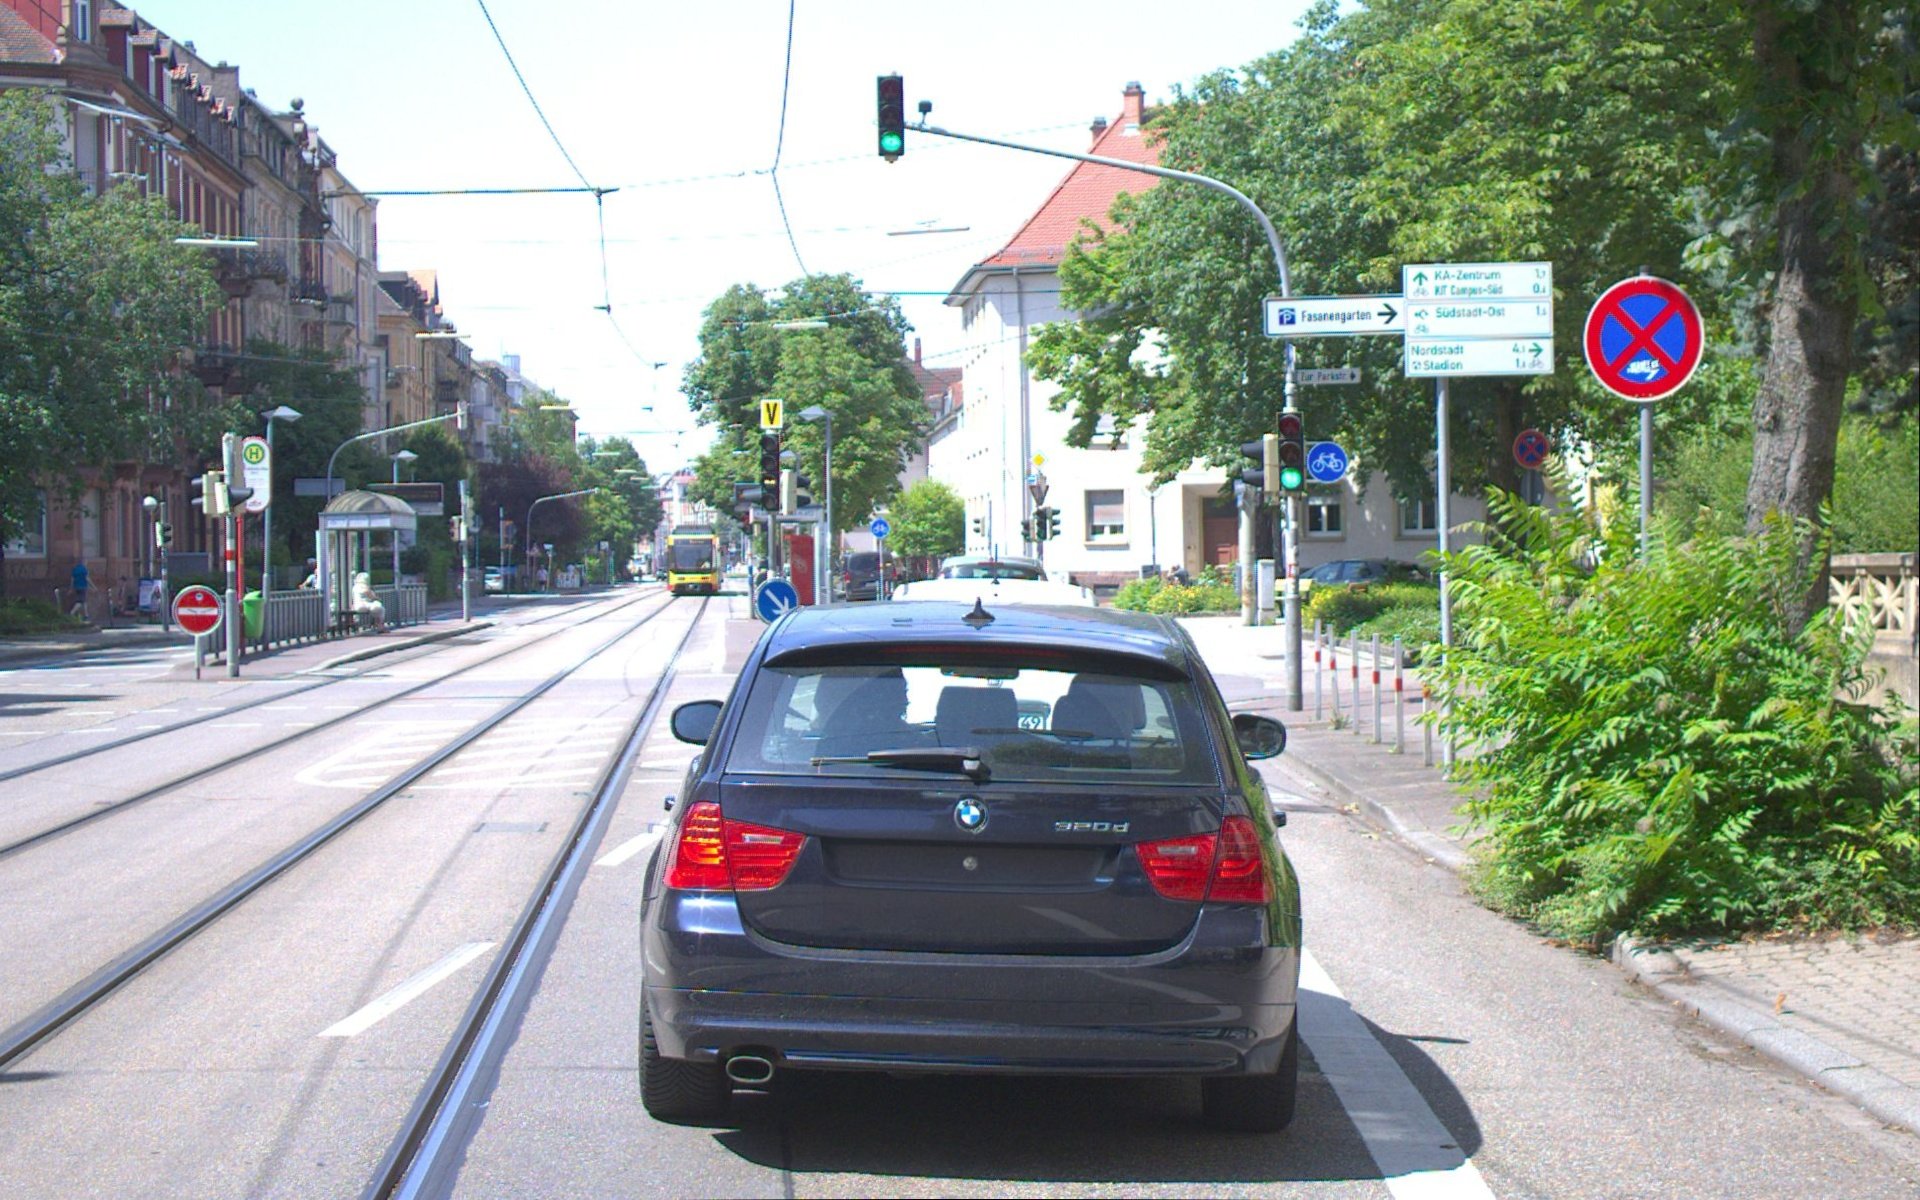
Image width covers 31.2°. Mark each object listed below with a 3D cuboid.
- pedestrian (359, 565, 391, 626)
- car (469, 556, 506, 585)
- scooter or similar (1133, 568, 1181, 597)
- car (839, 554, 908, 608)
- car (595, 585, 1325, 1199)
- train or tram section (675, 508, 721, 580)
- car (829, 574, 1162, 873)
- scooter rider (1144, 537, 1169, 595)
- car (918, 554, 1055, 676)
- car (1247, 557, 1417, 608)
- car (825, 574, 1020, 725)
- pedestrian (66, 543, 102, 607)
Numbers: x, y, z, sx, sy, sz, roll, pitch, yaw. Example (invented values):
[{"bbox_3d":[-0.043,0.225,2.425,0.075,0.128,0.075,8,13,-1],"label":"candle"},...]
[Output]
[{"bbox_3d":[-11.971,-0.091,70.354,0.613,1.238,0.628,-1,1,-9],"label":"pedestrian"},{"bbox_3d":[-26.718,-1.659,194.318,1.787,1.580,4.001,1,0,-12],"label":"car"},{"bbox_3d":[5.707,-0.501,99.672,1.311,0.834,0.527,-1,1,-9],"label":"scooter or similar"},{"bbox_3d":[-3.059,-0.675,120.777,1.993,1.842,4.001,-1,1,-7],"label":"car"},{"bbox_3d":[0.055,0.704,10.563,1.722,1.404,4.565,2,1,1],"label":"car"},{"bbox_3d":[-13.069,-2.811,171.753,2.190,3.470,8.846,-1,1,-4],"label":"train or tram section"},{"bbox_3d":[0.190,0.618,19.409,1.685,1.479,3.684,-1,1,0],"label":"car"},{"bbox_3d":[5.693,-0.987,99.663,0.590,1.681,0.528,-1,1,-9],"label":"scooter rider"},{"bbox_3d":[0.334,0.160,44.552,1.691,1.508,3.821,0,1,0],"label":"car"},{"bbox_3d":[9.471,-0.442,87.539,3.994,1.239,1.620,0,1,32],"label":"car"},{"bbox_3d":[-0.410,0.426,32.571,1.691,1.318,3.822,0,1,-3],"label":"car"},{"bbox_3d":[-25.012,-0.721,98.115,0.640,1.805,0.738,0,1,38],"label":"pedestrian"}]
